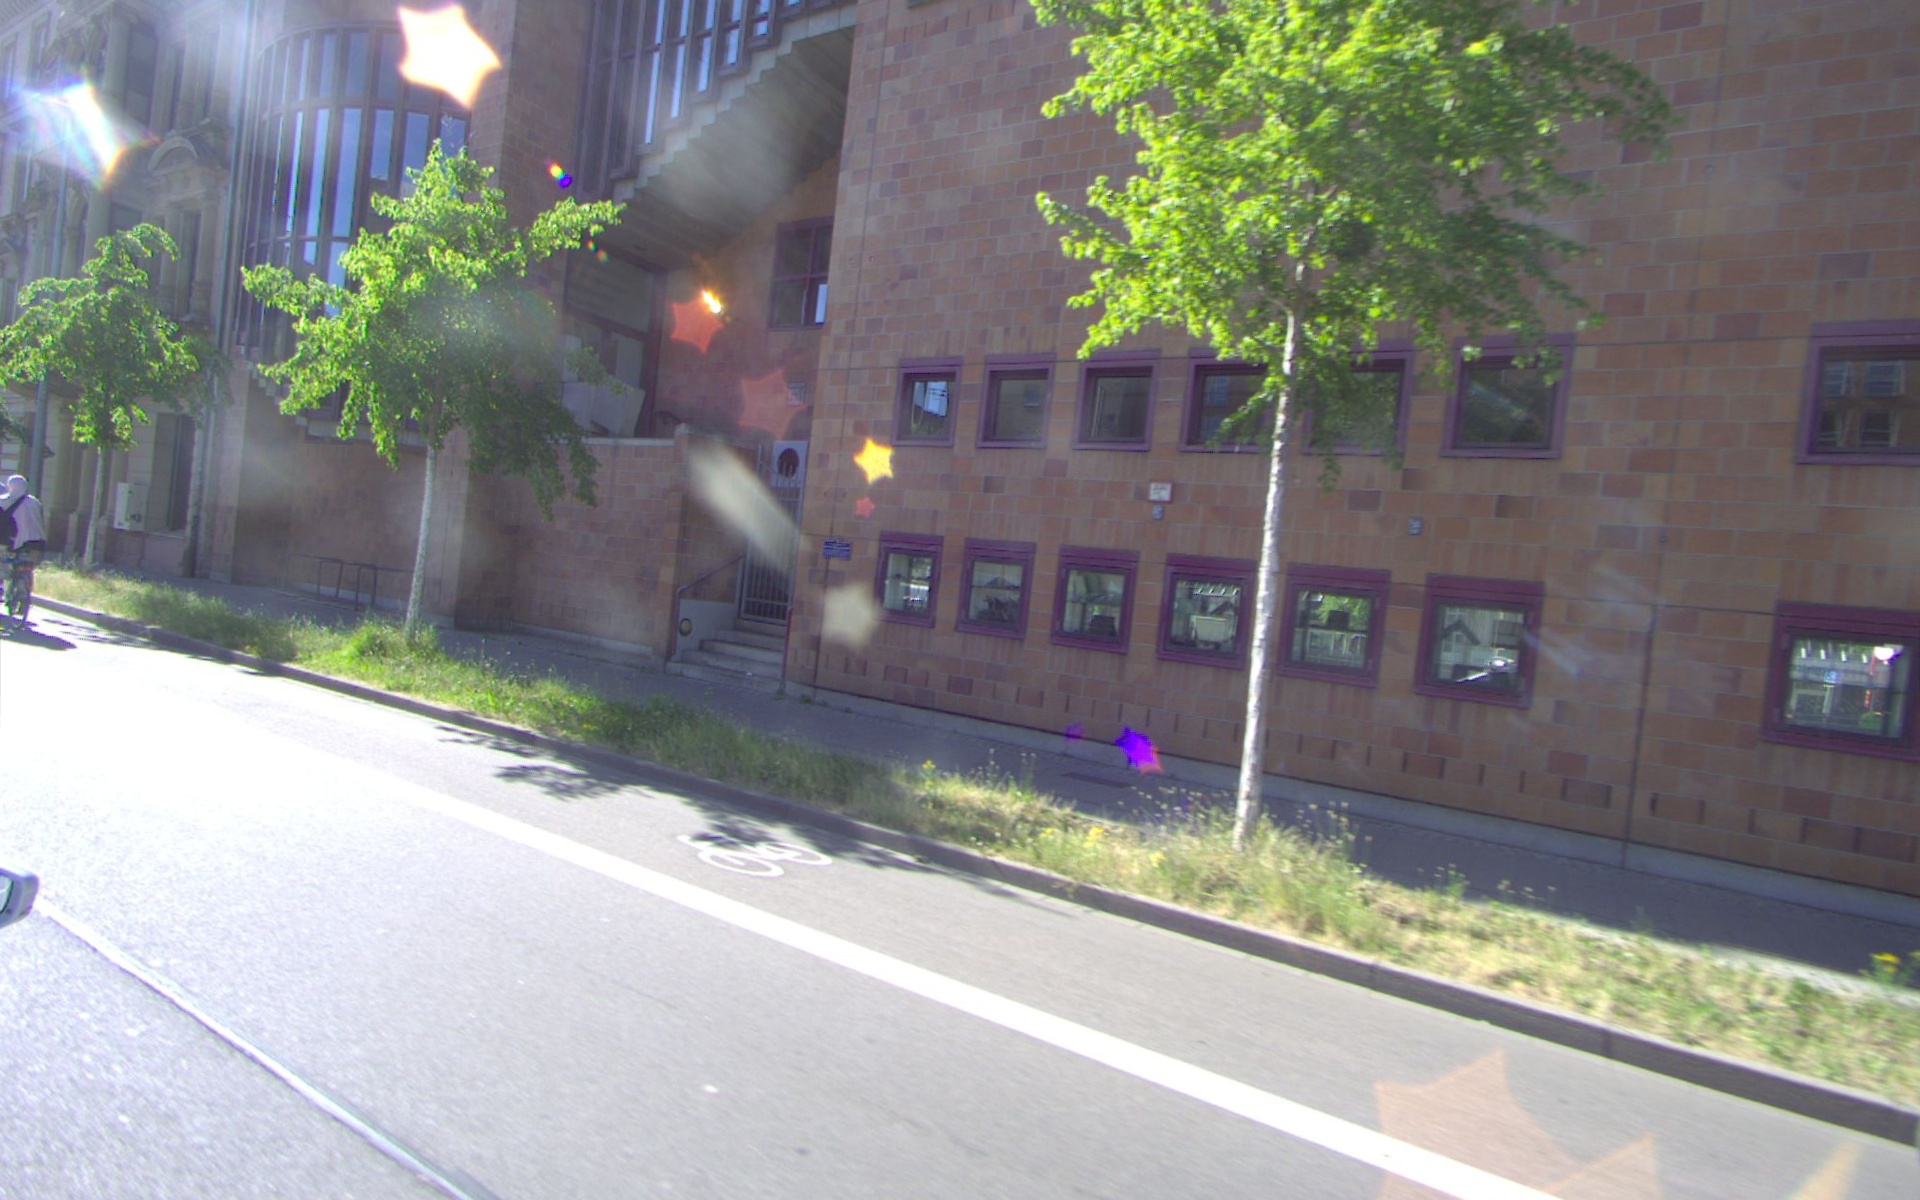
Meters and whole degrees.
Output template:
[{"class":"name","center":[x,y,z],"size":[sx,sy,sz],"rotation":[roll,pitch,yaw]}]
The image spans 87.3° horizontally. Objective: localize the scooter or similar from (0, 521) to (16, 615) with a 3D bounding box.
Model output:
[{"class":"scooter or similar","center":[-13.491,-0.496,13.726],"size":[1.151,1.241,0.491],"rotation":[7,-1,31]}]

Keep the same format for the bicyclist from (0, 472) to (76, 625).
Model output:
[{"class":"bicyclist","center":[-11.502,-0.638,12.215],"size":[0.854,1.731,0.781],"rotation":[7,-1,31]}]

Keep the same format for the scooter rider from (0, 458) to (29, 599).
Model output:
[{"class":"scooter rider","center":[-13.455,-1.025,13.758],"size":[0.886,1.882,0.667],"rotation":[7,-1,31]}]

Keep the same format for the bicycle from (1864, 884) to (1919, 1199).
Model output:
[{"class":"bicycle","center":[3.828,1.592,3.025],"size":[1.482,1.039,0.558],"rotation":[7,-1,31]}]

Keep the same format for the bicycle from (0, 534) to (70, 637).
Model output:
[{"class":"bicycle","center":[-11.559,-0.218,12.193],"size":[1.762,1.105,0.558],"rotation":[7,-1,31]}]
